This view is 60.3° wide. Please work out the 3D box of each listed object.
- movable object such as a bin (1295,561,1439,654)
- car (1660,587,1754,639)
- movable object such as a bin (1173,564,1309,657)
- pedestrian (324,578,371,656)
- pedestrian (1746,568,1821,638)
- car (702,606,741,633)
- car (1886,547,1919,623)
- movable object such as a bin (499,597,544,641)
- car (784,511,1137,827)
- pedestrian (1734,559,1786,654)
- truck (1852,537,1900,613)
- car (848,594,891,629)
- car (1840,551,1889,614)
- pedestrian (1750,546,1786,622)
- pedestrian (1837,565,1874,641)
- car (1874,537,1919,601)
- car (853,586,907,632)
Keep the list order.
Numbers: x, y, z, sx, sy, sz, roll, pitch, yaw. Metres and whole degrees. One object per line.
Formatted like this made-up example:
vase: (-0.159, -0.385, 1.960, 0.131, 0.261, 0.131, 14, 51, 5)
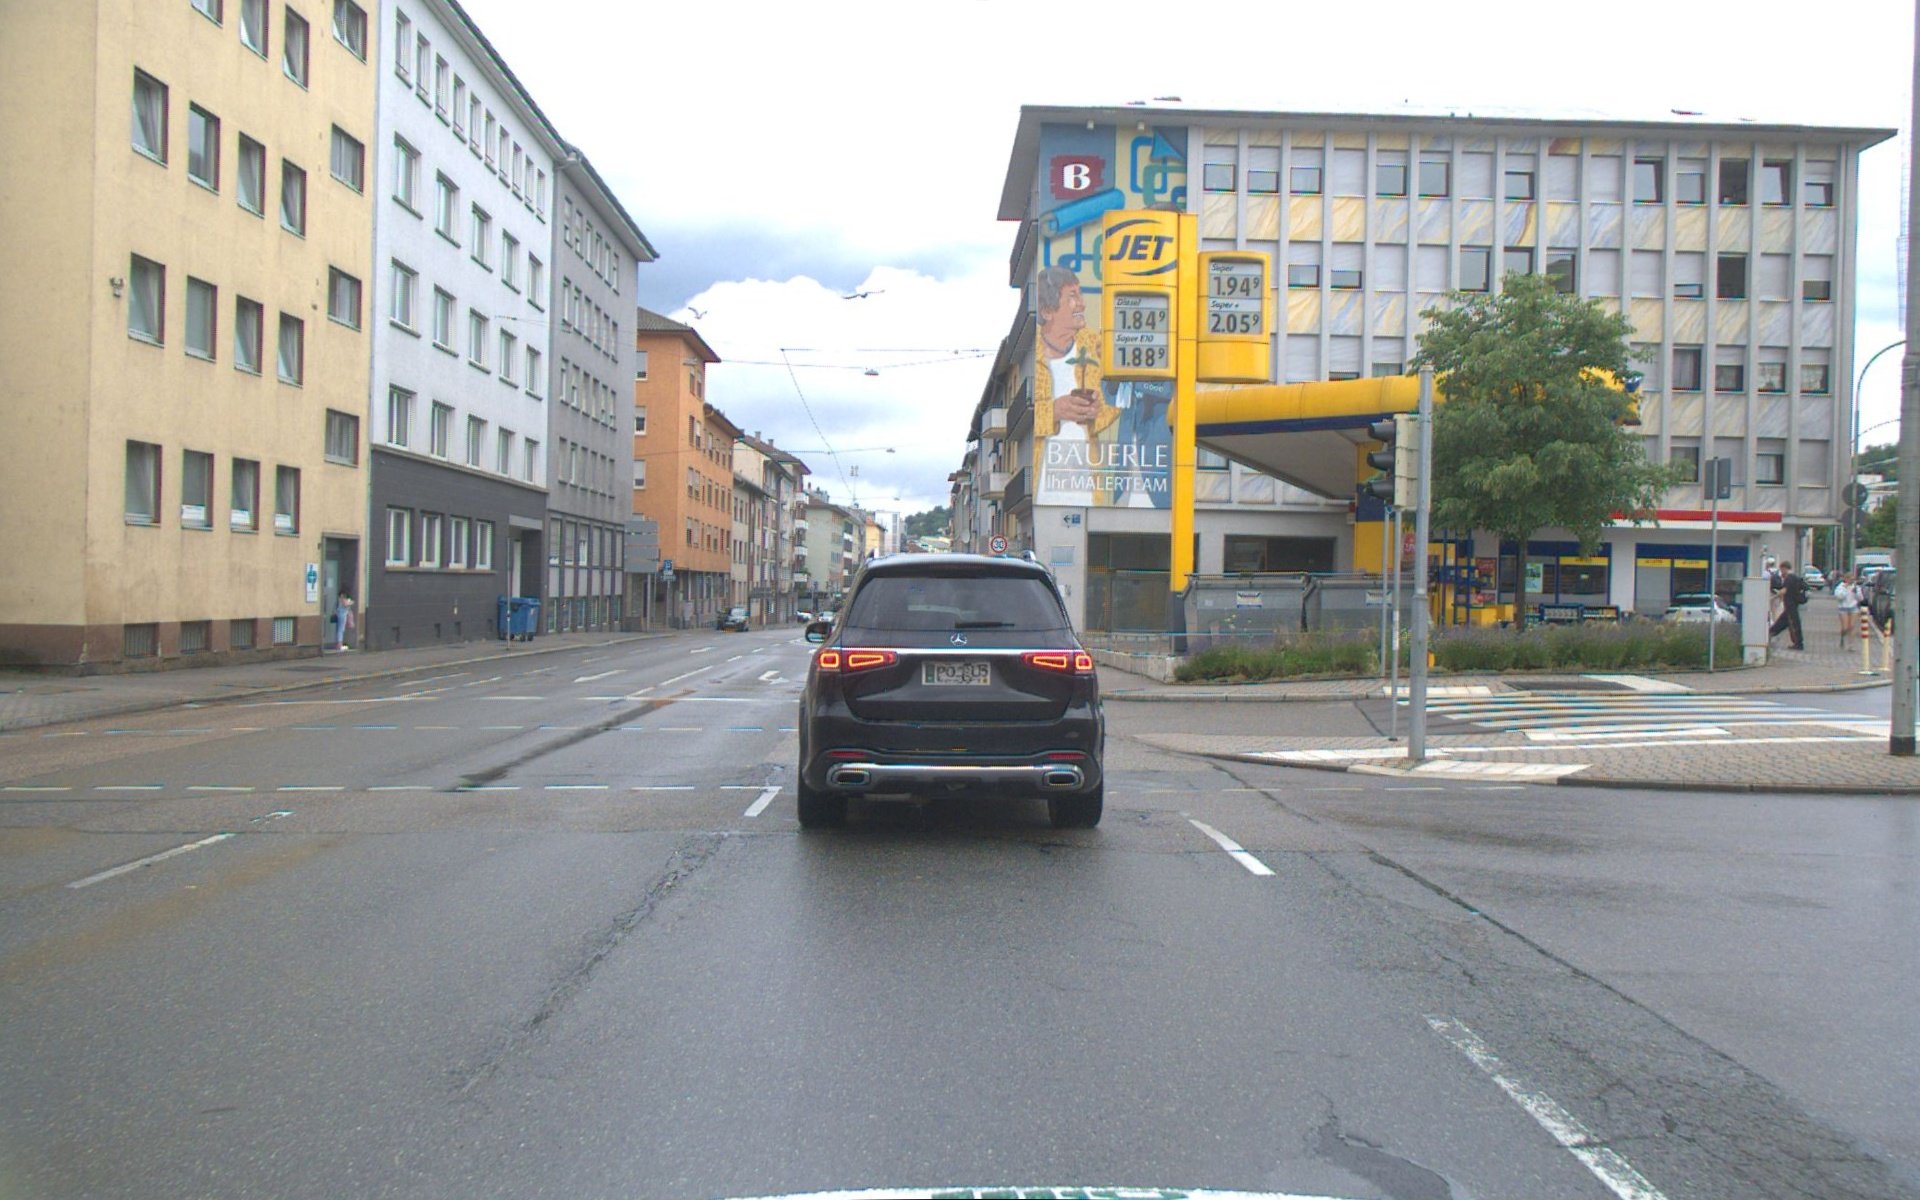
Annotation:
movable object such as a bin: (7.236, 0.133, 29.571, 2.112, 1.582, 1.772, -1, 0, -1)
car: (23.846, 0.463, 52.737, 1.959, 1.542, 4.403, -1, -2, 35)
movable object such as a bin: (4.979, 0.192, 29.520, 2.112, 1.602, 1.772, 0, 0, -1)
pedestrian: (-13.984, 0.386, 37.774, 0.702, 1.719, 0.811, 2, 0, 0)
pedestrian: (16.922, 0.052, 33.980, 0.910, 1.376, 1.096, 3, -1, -42)
car: (-14.158, 1.152, 98.495, 1.854, 1.484, 4.546, 2, 0, -3)
car: (26.071, -0.342, 44.299, 1.955, 1.897, 4.574, 2, 0, 27)
movable object such as a bin: (-13.855, 0.598, 52.308, 1.054, 1.347, 1.190, 2, 0, -2)
car: (-0.066, 0.409, 12.163, 2.034, 1.796, 4.609, 2, 0, -2)
pedestrian: (22.440, 0.185, 46.414, 0.984, 2.611, 1.149, 2, 0, 13)
truck: (50.638, -1.332, 91.554, 1.955, 3.982, 5.479, 2, 0, 27)
car: (-4.548, 0.558, 83.740, 2.034, 1.678, 4.293, 2, 0, -2)
car: (46.607, -0.863, 85.309, 1.955, 3.025, 4.574, 2, 0, 27)
pedestrian: (19.489, -0.377, 39.909, 0.663, 1.788, 0.732, 2, -1, 21)
pedestrian: (18.641, 0.057, 34.439, 0.570, 1.541, 0.472, 3, -1, -42)
car: (31.572, -0.978, 54.814, 1.955, 1.897, 4.574, 2, 0, 27)
car: (-3.162, 0.337, 66.250, 2.034, 1.678, 4.293, 2, 0, -2)
